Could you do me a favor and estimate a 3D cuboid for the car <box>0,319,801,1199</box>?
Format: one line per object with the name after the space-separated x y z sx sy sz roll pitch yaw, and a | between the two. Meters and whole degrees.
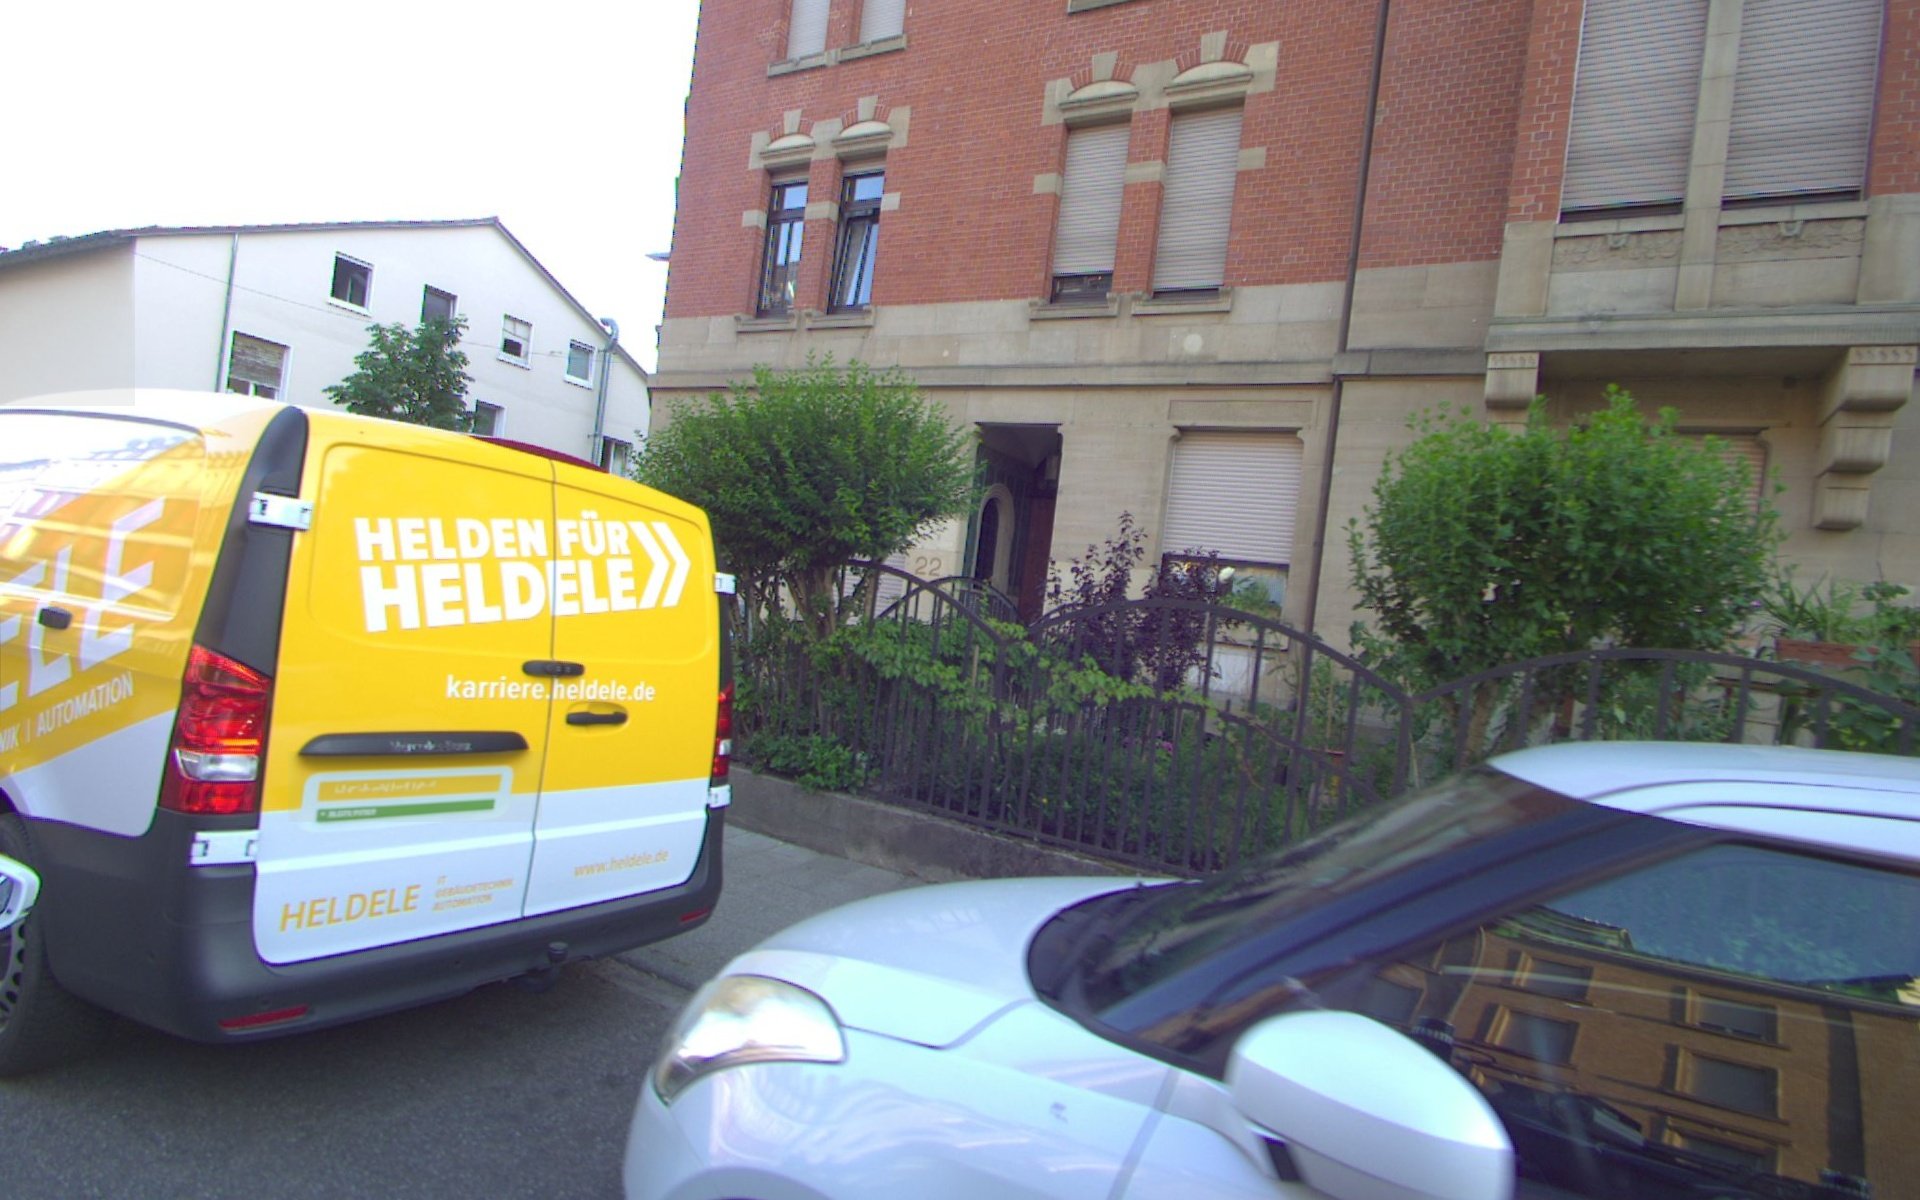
-3.302 0.213 4.127 4.996 1.906 1.897 7 -1 30 | car

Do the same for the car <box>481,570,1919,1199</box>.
1.221 0.951 1.435 3.799 1.494 1.677 7 -1 33 | car

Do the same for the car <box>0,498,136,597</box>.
-16.372 -0.998 16.575 1.627 1.473 3.940 7 0 22 | car

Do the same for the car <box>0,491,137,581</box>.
-19.468 -1.400 20.275 1.727 1.533 4.054 9 1 31 | car

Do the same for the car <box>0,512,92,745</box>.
-7.983 -0.073 6.898 4.181 1.440 1.725 7 -2 31 | car
